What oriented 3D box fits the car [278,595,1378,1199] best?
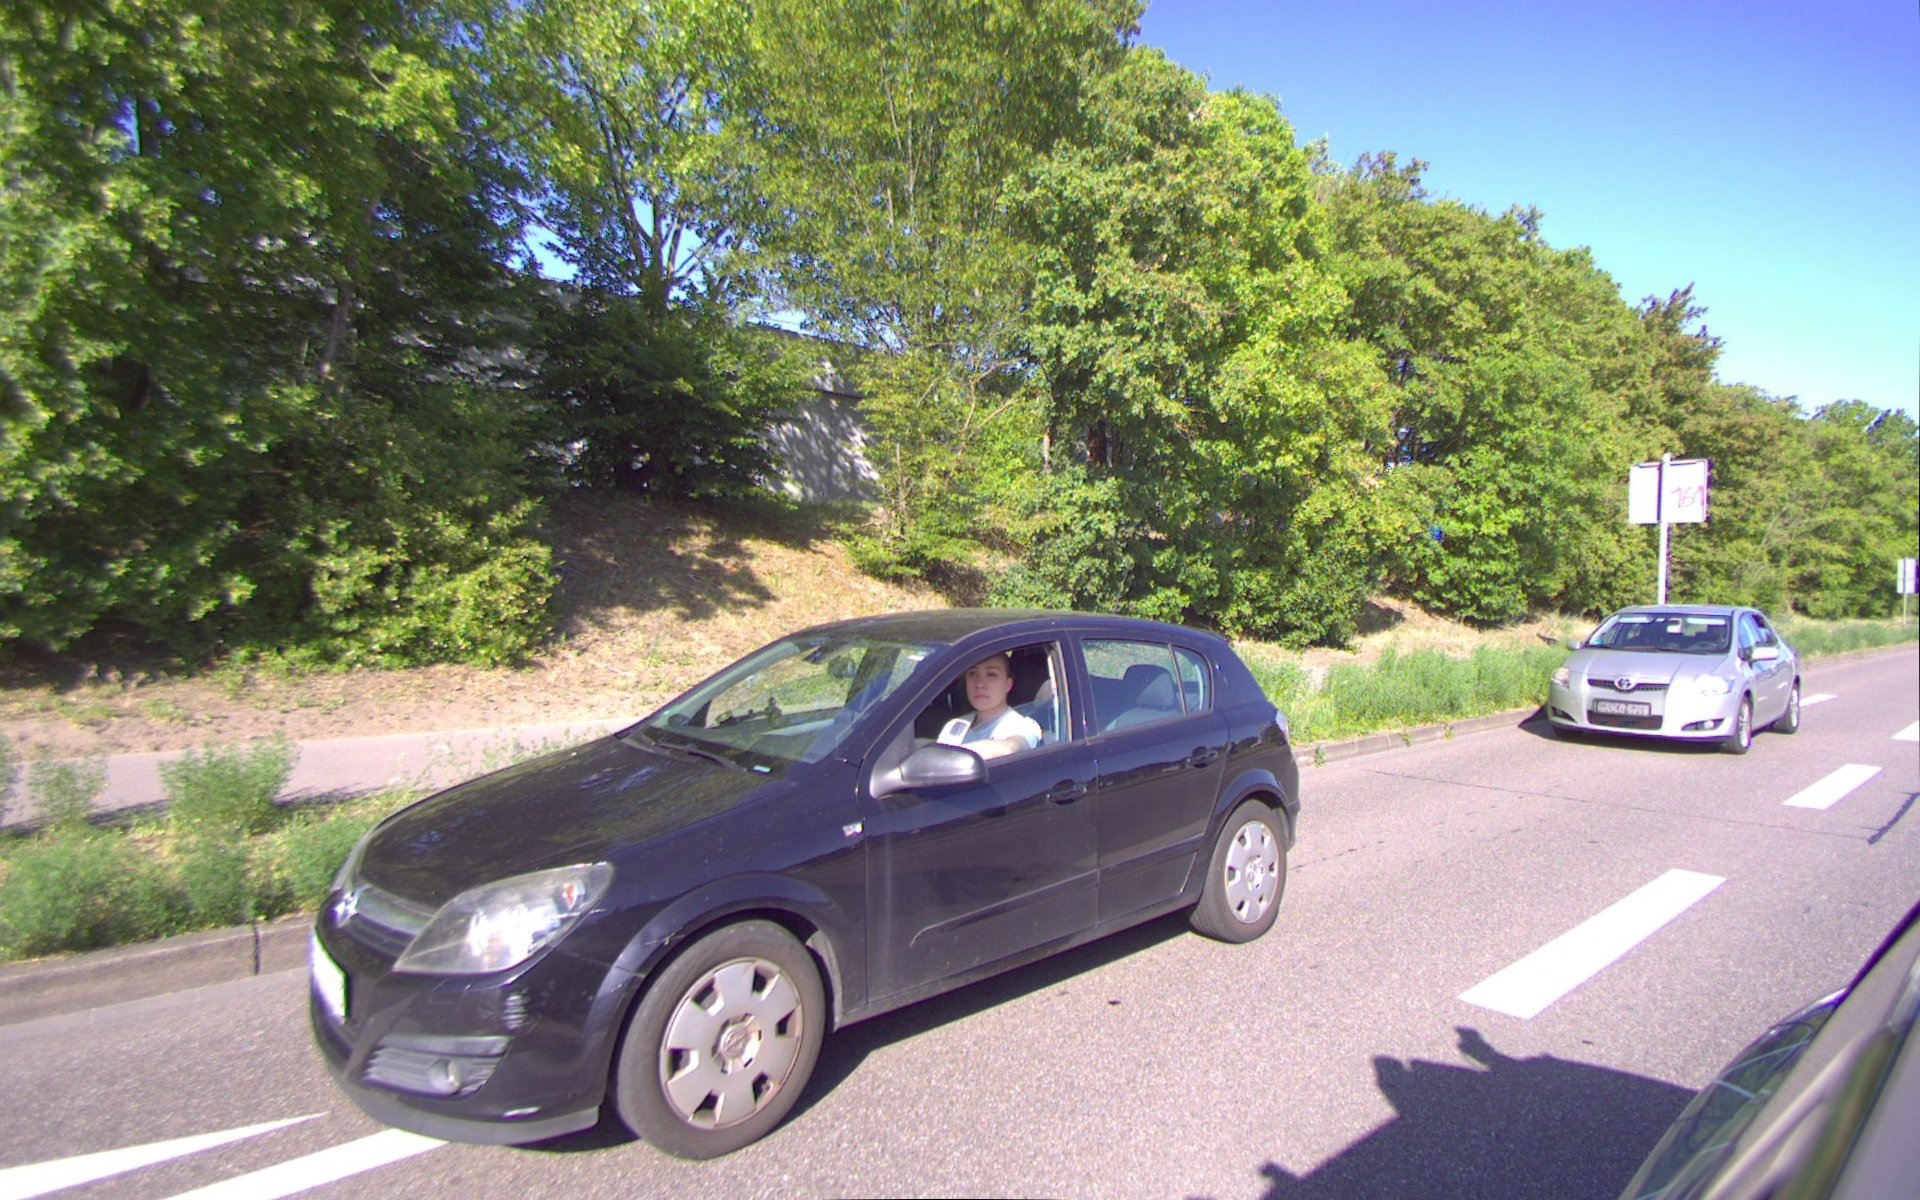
[{"bbox_3d":[-0.142,0.714,4.194,4.295,1.460,1.737,0,0,-41],"label":"car"}]

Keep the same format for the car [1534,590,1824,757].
[{"bbox_3d":[8.234,0.687,11.465,4.036,1.556,1.786,0,0,-41],"label":"car"}]
